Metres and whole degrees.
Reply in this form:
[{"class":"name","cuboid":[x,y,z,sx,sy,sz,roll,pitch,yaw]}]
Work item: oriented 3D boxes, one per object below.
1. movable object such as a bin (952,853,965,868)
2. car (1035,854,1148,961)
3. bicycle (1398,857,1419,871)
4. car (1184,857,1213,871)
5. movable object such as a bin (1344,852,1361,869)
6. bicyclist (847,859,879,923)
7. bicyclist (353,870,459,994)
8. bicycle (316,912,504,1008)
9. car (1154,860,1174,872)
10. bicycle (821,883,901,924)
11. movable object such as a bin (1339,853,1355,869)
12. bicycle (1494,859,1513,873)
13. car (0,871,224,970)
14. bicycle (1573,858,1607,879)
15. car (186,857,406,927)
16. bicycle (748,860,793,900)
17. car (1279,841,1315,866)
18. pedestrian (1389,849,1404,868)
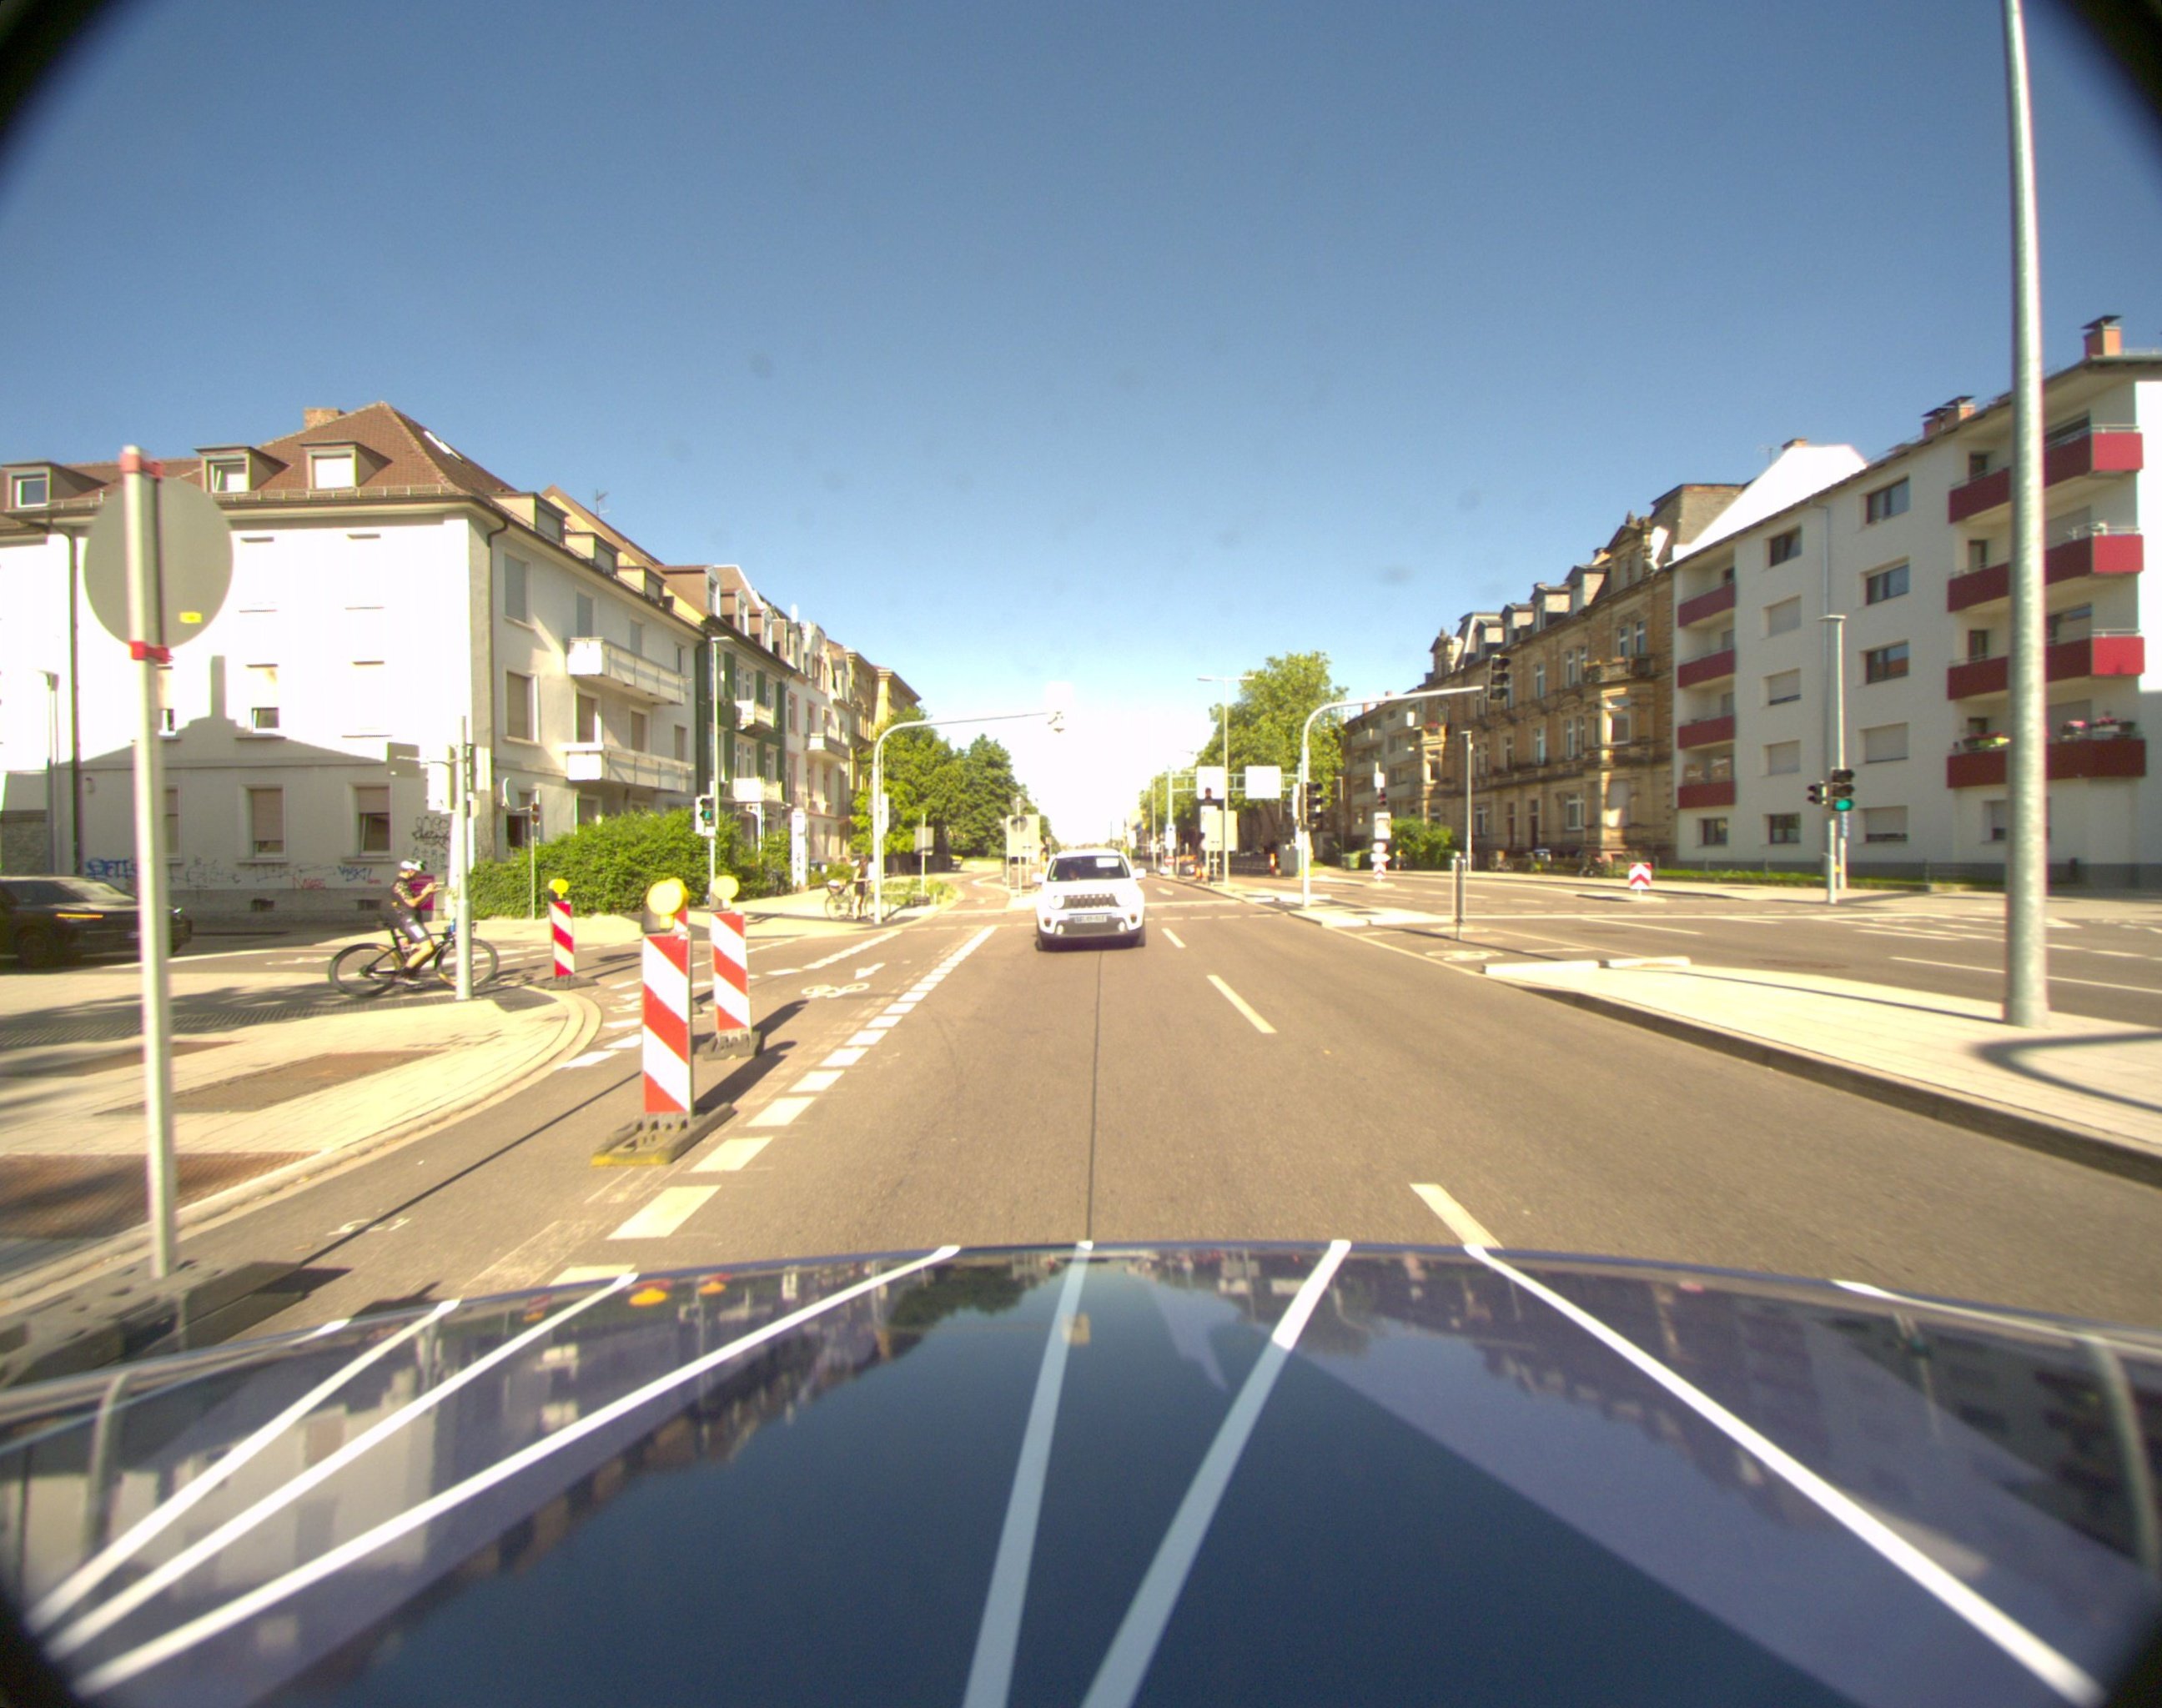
[{"class":"movable object such as a bin","cuboid":[-12.288,0.652,76.369,0.975,1.389,1.285,2,-1,-23]},{"class":"car","cuboid":[0.144,0.870,13.724,1.744,1.647,3.690,-1,-1,-1]},{"class":"bicycle","cuboid":[23.910,0.701,55.524,0.468,0.999,2.250,-2,0,-2]},{"class":"car","cuboid":[11.353,0.970,73.717,1.936,1.337,4.316,-1,-1,-2]},{"class":"movable object such as a bin","cuboid":[23.301,0.569,65.266,0.895,1.352,1.474,1,-1,1]},{"class":"bicyclist","cuboid":[-5.915,0.989,20.625,0.605,1.698,0.858,-1,0,0]},{"class":"bicyclist","cuboid":[-8.638,0.958,9.770,0.872,1.491,0.724,-1,1,-31]},{"class":"bicycle","cuboid":[-8.543,1.318,9.781,1.690,1.091,0.689,2,-1,-30]},{"class":"car","cuboid":[11.167,1.590,102.914,1.999,1.444,4.389,-1,0,-4]},{"class":"bicycle","cuboid":[-5.964,1.338,20.682,1.967,1.019,0.605,-2,0,0]},{"class":"movable object such as a bin","cuboid":[23.367,0.587,66.659,0.895,1.354,1.314,1,-1,-1]},{"class":"bicycle","cuboid":[24.075,0.665,43.337,0.299,0.766,1.414,-1,0,1]},{"class":"car","cuboid":[-19.223,1.208,14.240,4.259,1.609,1.985,-1,1,5]},{"class":"bicycle","cuboid":[24.038,0.659,35.933,0.305,0.952,1.940,0,0,1]},{"class":"car","cuboid":[-20.628,0.964,20.078,3.995,1.703,2.001,-1,0,7]},{"class":"bicycle","cuboid":[-11.850,0.952,29.086,0.710,1.435,2.491,-2,0,-1]},{"class":"car","cuboid":[22.272,0.011,78.519,2.250,2.431,5.288,1,-1,1]},{"class":"pedestrian","cuboid":[23.254,0.339,55.974,0.568,1.369,1.090,-1,0,-2]}]
